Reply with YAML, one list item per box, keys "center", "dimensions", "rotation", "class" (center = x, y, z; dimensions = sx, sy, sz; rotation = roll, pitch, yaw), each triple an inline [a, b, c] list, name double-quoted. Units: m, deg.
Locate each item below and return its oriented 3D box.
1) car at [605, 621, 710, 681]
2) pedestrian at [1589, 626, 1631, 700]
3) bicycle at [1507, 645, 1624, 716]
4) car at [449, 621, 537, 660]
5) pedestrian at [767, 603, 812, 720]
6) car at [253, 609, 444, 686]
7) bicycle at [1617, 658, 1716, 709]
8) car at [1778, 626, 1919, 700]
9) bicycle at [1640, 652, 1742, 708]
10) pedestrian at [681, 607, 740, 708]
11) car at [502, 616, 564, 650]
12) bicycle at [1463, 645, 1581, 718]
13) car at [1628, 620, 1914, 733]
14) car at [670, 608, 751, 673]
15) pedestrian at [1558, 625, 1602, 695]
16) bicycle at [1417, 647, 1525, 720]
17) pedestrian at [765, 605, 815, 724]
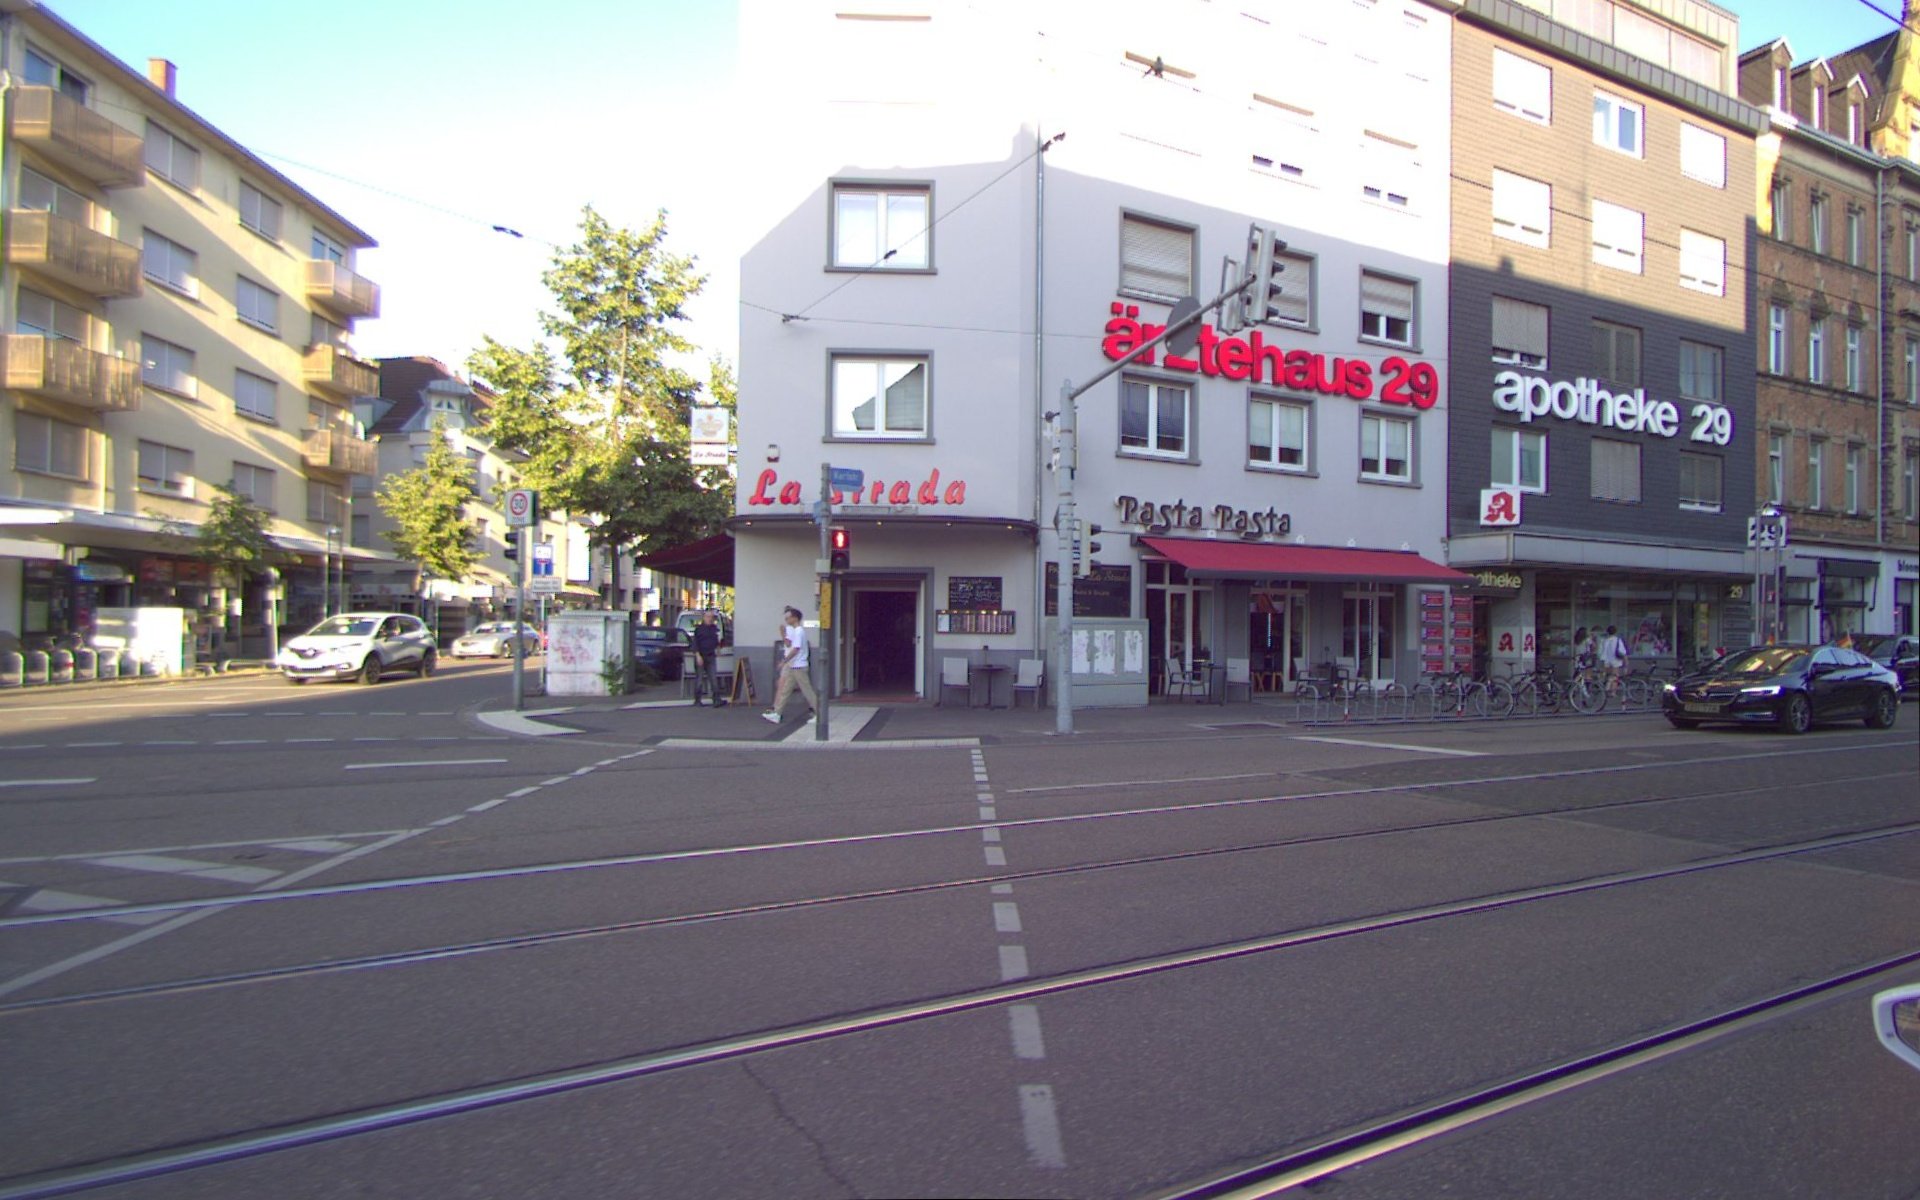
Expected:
- center: [-7.864, 1.297, 26.422]
  dimensions: [1.613, 1.463, 3.607]
  rotation: [1, -1, 0]
  class: "car"
- center: [15.407, 1.480, 23.811]
  dimensions: [0.594, 1.722, 0.618]
  rotation: [0, 0, -26]
  class: "pedestrian"
- center: [12.426, 1.627, 20.703]
  dimensions: [0.545, 1.240, 2.105]
  rotation: [0, 1, -25]
  class: "bicycle"
- center: [-17.592, 1.505, 38.035]
  dimensions: [1.821, 1.367, 3.809]
  rotation: [-1, -1, -5]
  class: "car"
- center: [-2.701, 0.966, 15.967]
  dimensions: [0.588, 1.802, 0.638]
  rotation: [1, -1, -1]
  class: "pedestrian"
- center: [-13.724, 1.048, 22.886]
  dimensions: [2.074, 1.577, 4.011]
  rotation: [0, -2, -4]
  class: "car"
- center: [15.542, 1.814, 22.149]
  dimensions: [0.450, 0.924, 1.799]
  rotation: [-1, 2, -25]
  class: "bicycle"
- center: [23.262, 1.543, 25.553]
  dimensions: [4.581, 1.697, 1.925]
  rotation: [1, 0, -24]
  class: "car"
- center: [16.309, 1.761, 22.455]
  dimensions: [0.482, 1.061, 1.825]
  rotation: [-1, 2, -25]
  class: "bicycle"
- center: [-4.329, 0.987, 17.444]
  dimensions: [0.692, 1.698, 0.711]
  rotation: [0, -1, 38]
  class: "pedestrian"
- center: [-20.677, 1.578, 48.760]
  dimensions: [1.638, 1.574, 3.496]
  rotation: [1, -1, -3]
  class: "car"
- center: [11.123, 1.578, 19.978]
  dimensions: [0.546, 1.240, 2.105]
  rotation: [1, 1, -25]
  class: "bicycle"
- center: [14.054, 1.281, 17.405]
  dimensions: [4.663, 1.750, 1.988]
  rotation: [1, -3, -25]
  class: "car"
- center: [-8.030, 1.253, 32.614]
  dimensions: [1.613, 1.898, 3.607]
  rotation: [3, -1, 0]
  class: "car"
- center: [15.111, 1.449, 24.493]
  dimensions: [0.616, 1.683, 0.680]
  rotation: [0, 0, -26]
  class: "pedestrian"
- center: [9.842, 1.581, 19.428]
  dimensions: [0.546, 1.227, 1.885]
  rotation: [1, 1, -25]
  class: "bicycle"
- center: [-2.583, 0.974, 15.296]
  dimensions: [0.656, 1.767, 0.638]
  rotation: [1, -1, -4]
  class: "pedestrian"
